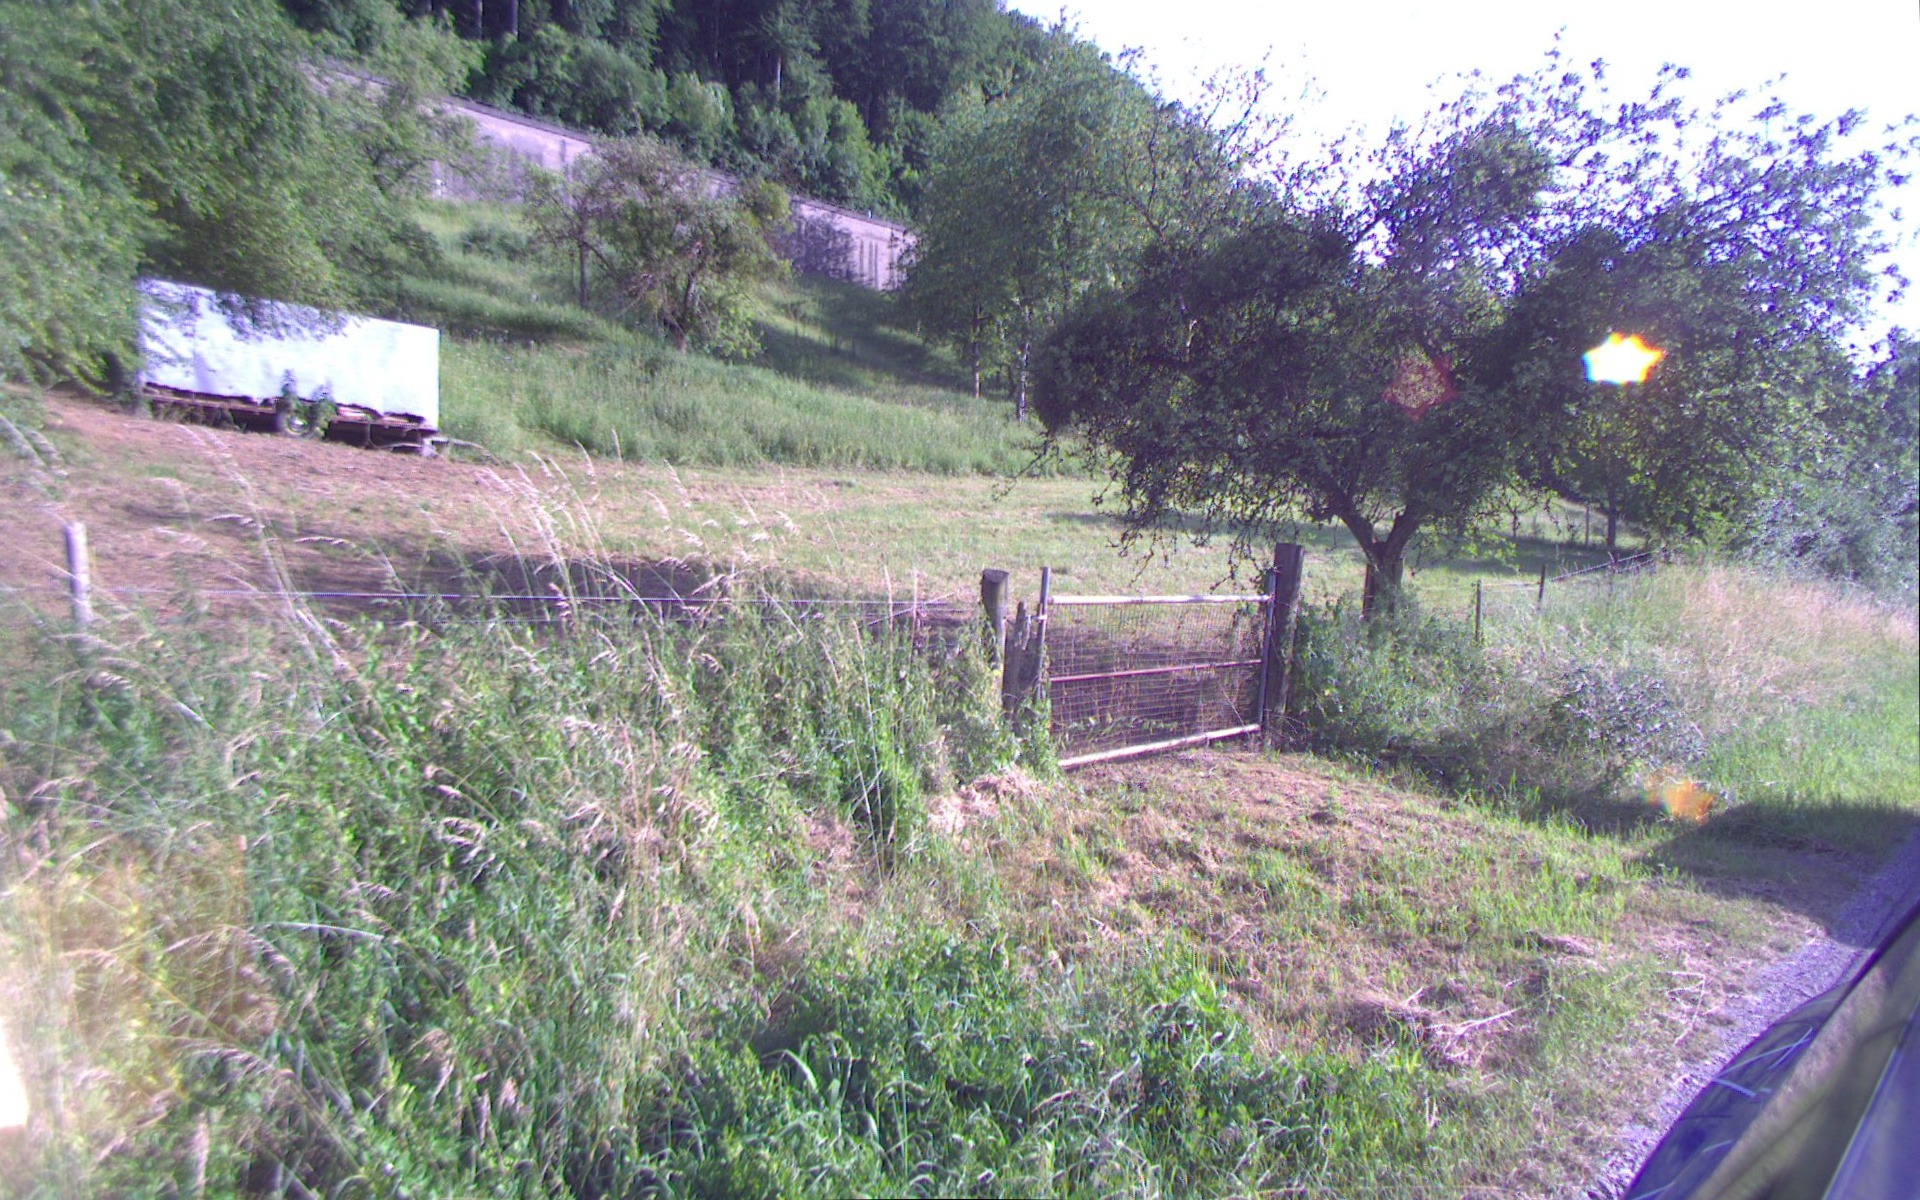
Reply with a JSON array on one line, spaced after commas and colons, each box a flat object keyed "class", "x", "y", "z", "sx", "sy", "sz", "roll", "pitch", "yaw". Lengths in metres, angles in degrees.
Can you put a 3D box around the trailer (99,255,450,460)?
[{"class": "trailer", "x": -12.974, "y": -4.388, "z": 19.411, "sx": 5.159, "sy": 2.590, "sz": 2.155, "roll": 4, "pitch": 1, "yaw": -44}]
